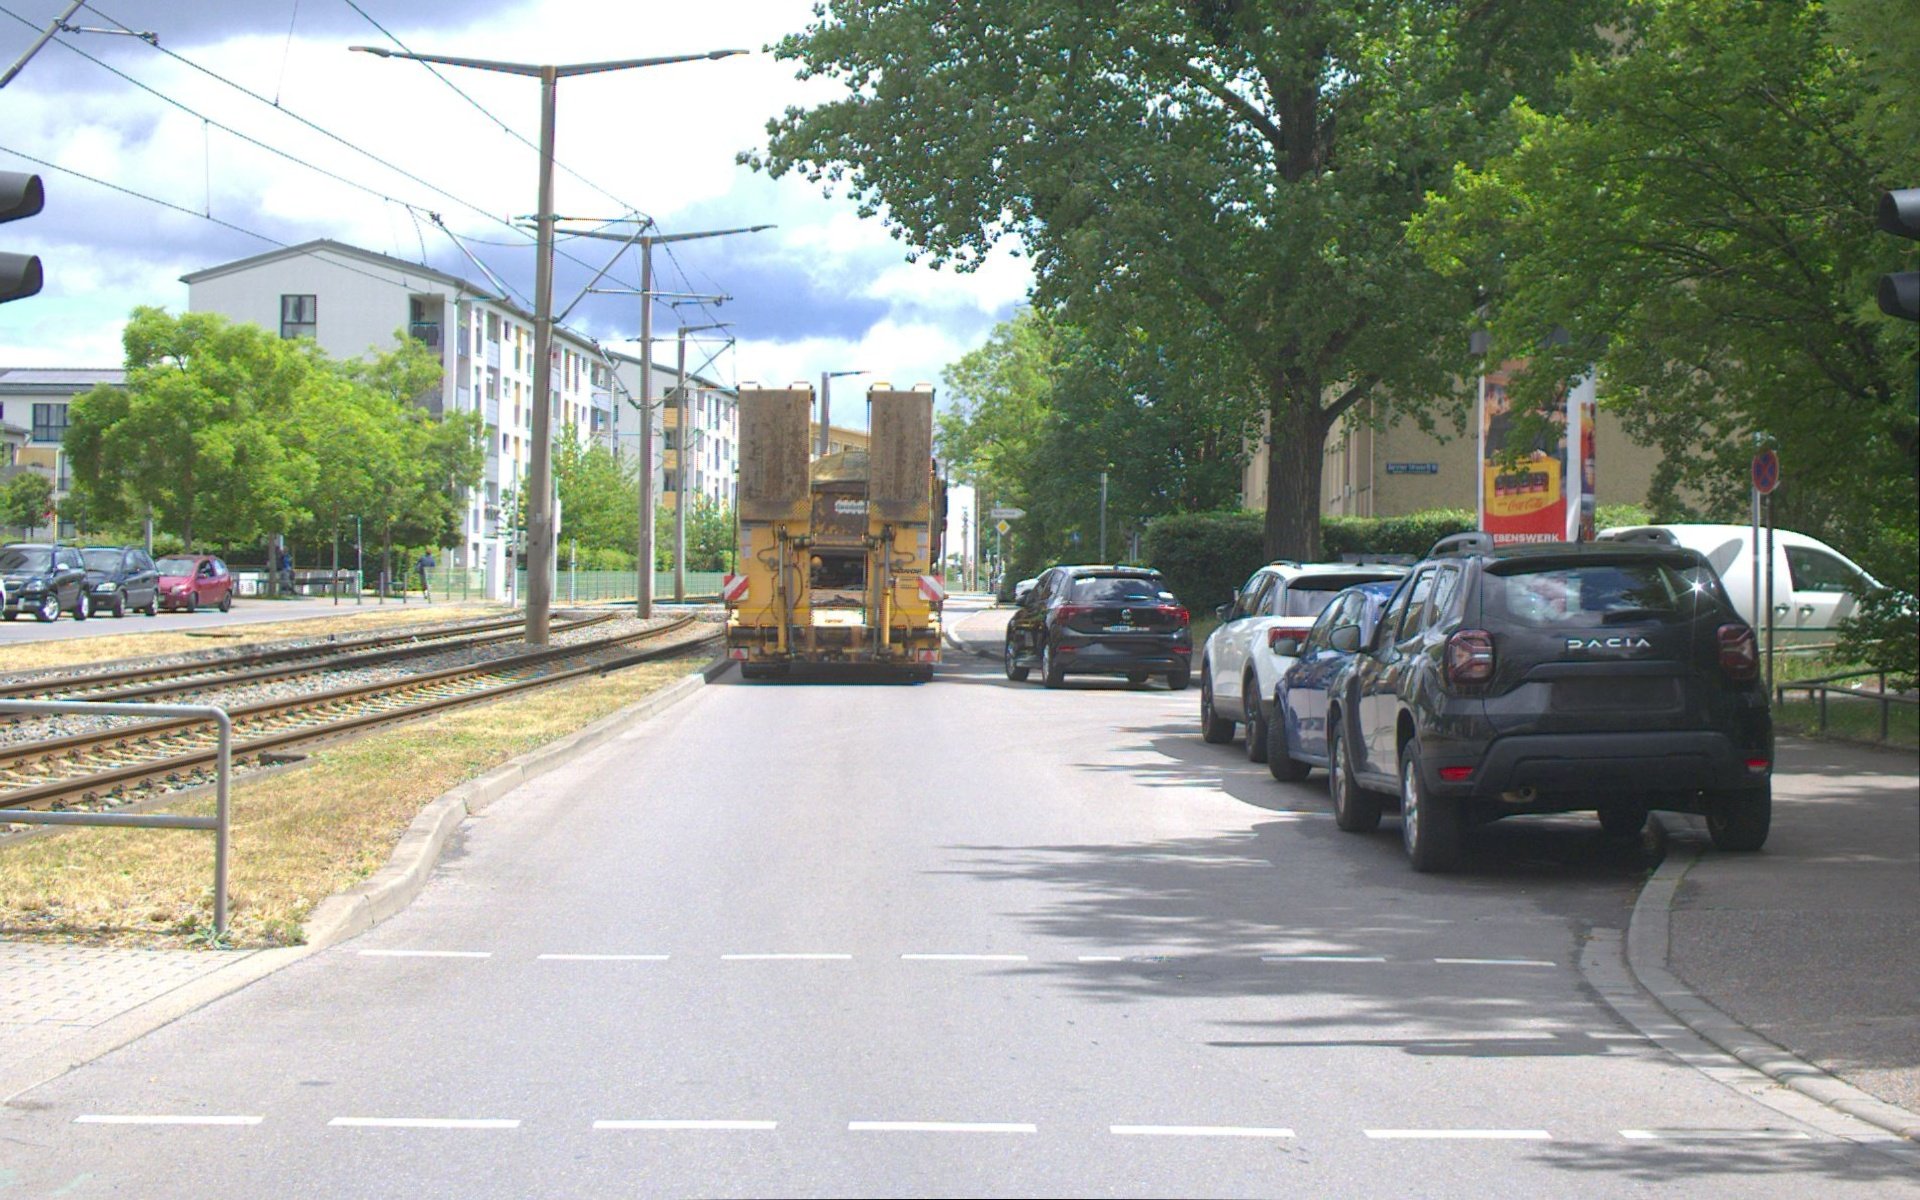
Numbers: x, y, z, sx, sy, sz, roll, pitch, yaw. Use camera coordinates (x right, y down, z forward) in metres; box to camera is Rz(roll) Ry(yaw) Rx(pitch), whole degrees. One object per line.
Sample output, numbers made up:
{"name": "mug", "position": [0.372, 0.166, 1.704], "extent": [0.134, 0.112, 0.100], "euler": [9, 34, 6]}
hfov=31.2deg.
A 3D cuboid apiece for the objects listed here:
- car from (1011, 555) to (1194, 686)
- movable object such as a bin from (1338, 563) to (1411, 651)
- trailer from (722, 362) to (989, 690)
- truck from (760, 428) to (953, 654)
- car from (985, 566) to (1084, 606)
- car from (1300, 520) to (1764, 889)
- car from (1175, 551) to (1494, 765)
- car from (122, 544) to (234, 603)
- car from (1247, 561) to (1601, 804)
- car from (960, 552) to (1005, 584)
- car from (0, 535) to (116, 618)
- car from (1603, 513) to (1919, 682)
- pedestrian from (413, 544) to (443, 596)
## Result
{"name": "car", "position": [1.643, 0.210, 40.830], "extent": [1.815, 1.444, 3.827], "euler": [0, 1, -3]}
{"name": "movable object such as a bin", "position": [6.816, 0.110, 56.569], "extent": [1.098, 1.434, 0.761], "euler": [0, 1, -1]}
{"name": "trailer", "position": [-1.327, -0.973, 45.377], "extent": [3.050, 3.760, 11.613], "euler": [0, 1, -1]}
{"name": "truck", "position": [-1.606, -0.958, 54.708], "extent": [2.833, 3.319, 7.985], "euler": [0, 1, -1]}
{"name": "car", "position": [2.950, -0.543, 136.288], "extent": [3.600, 1.579, 1.999], "euler": [0, 0, 13]}
{"name": "car", "position": [2.973, 0.453, 18.784], "extent": [1.643, 1.756, 4.570], "euler": [0, 1, -2]}
{"name": "car", "position": [2.954, 0.397, 28.034], "extent": [1.783, 1.560, 4.570], "euler": [0, 1, -4]}
{"name": "car", "position": [-19.428, -0.676, 85.525], "extent": [1.614, 1.421, 3.422], "euler": [0, 1, 7]}
{"name": "car", "position": [3.040, 0.486, 23.287], "extent": [1.643, 1.453, 4.076], "euler": [0, 1, -3]}
{"name": "car", "position": [1.024, -1.438, 155.087], "extent": [1.993, 1.382, 4.000], "euler": [0, 1, 1]}
{"name": "car", "position": [-19.378, -0.520, 72.933], "extent": [1.993, 1.657, 4.100], "euler": [1, 1, -1]}
{"name": "car", "position": [9.474, -0.061, 38.859], "extent": [3.986, 1.816, 1.811], "euler": [-1, 1, -22]}
{"name": "pedestrian", "position": [-17.081, -0.954, 110.445], "extent": [0.749, 1.656, 0.869], "euler": [0, 1, 5]}
